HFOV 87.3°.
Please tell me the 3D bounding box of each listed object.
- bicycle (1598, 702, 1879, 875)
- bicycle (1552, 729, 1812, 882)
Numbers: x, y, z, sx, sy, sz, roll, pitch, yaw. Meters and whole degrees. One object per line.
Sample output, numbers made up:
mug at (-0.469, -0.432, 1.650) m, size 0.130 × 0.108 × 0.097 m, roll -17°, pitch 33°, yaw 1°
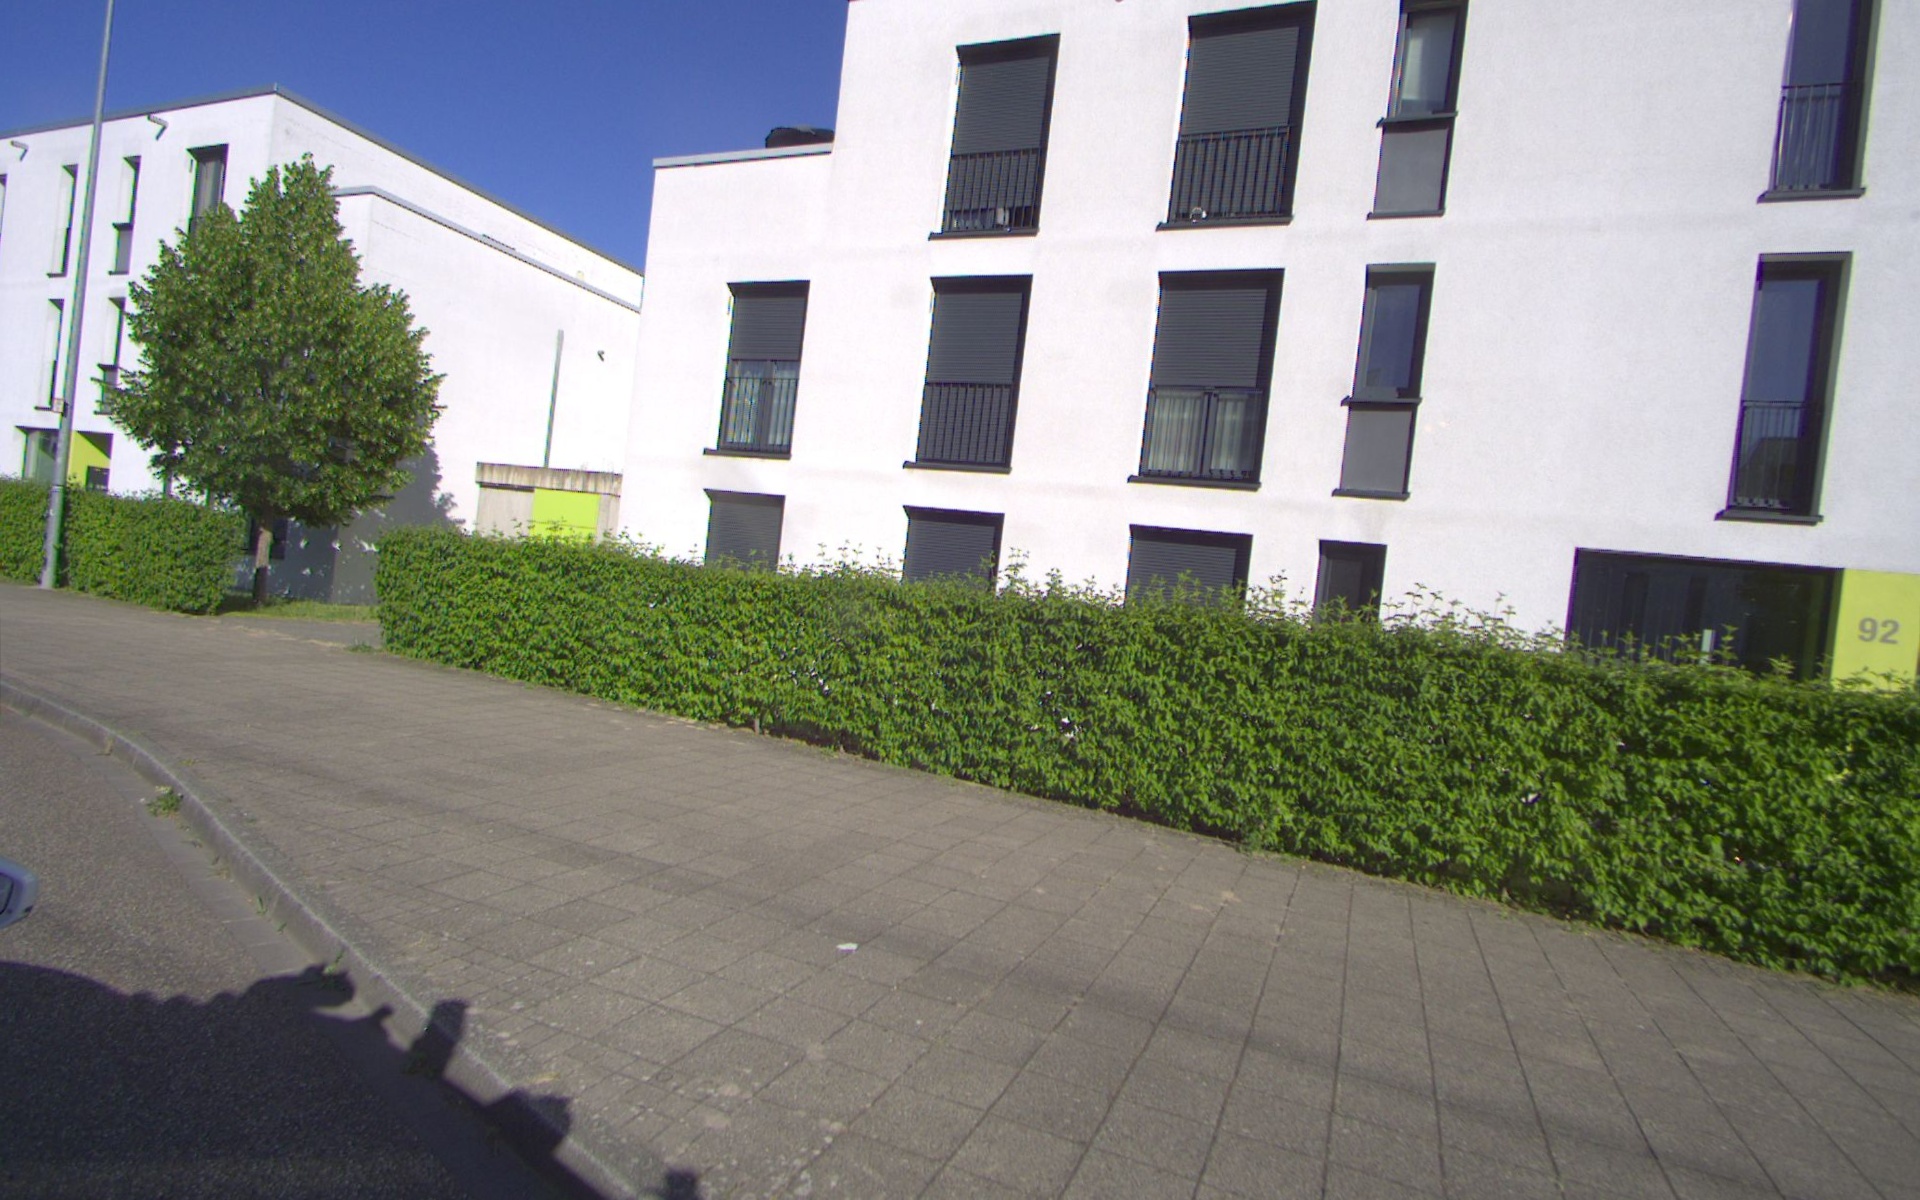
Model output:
bicycle at (6.474, 1.534, 8.478) m, size 1.698 × 1.088 × 0.516 m, roll 7°, pitch 0°, yaw 28°
bicycle at (5.644, 1.582, 7.958) m, size 1.542 × 0.863 × 0.413 m, roll 7°, pitch 0°, yaw 28°
